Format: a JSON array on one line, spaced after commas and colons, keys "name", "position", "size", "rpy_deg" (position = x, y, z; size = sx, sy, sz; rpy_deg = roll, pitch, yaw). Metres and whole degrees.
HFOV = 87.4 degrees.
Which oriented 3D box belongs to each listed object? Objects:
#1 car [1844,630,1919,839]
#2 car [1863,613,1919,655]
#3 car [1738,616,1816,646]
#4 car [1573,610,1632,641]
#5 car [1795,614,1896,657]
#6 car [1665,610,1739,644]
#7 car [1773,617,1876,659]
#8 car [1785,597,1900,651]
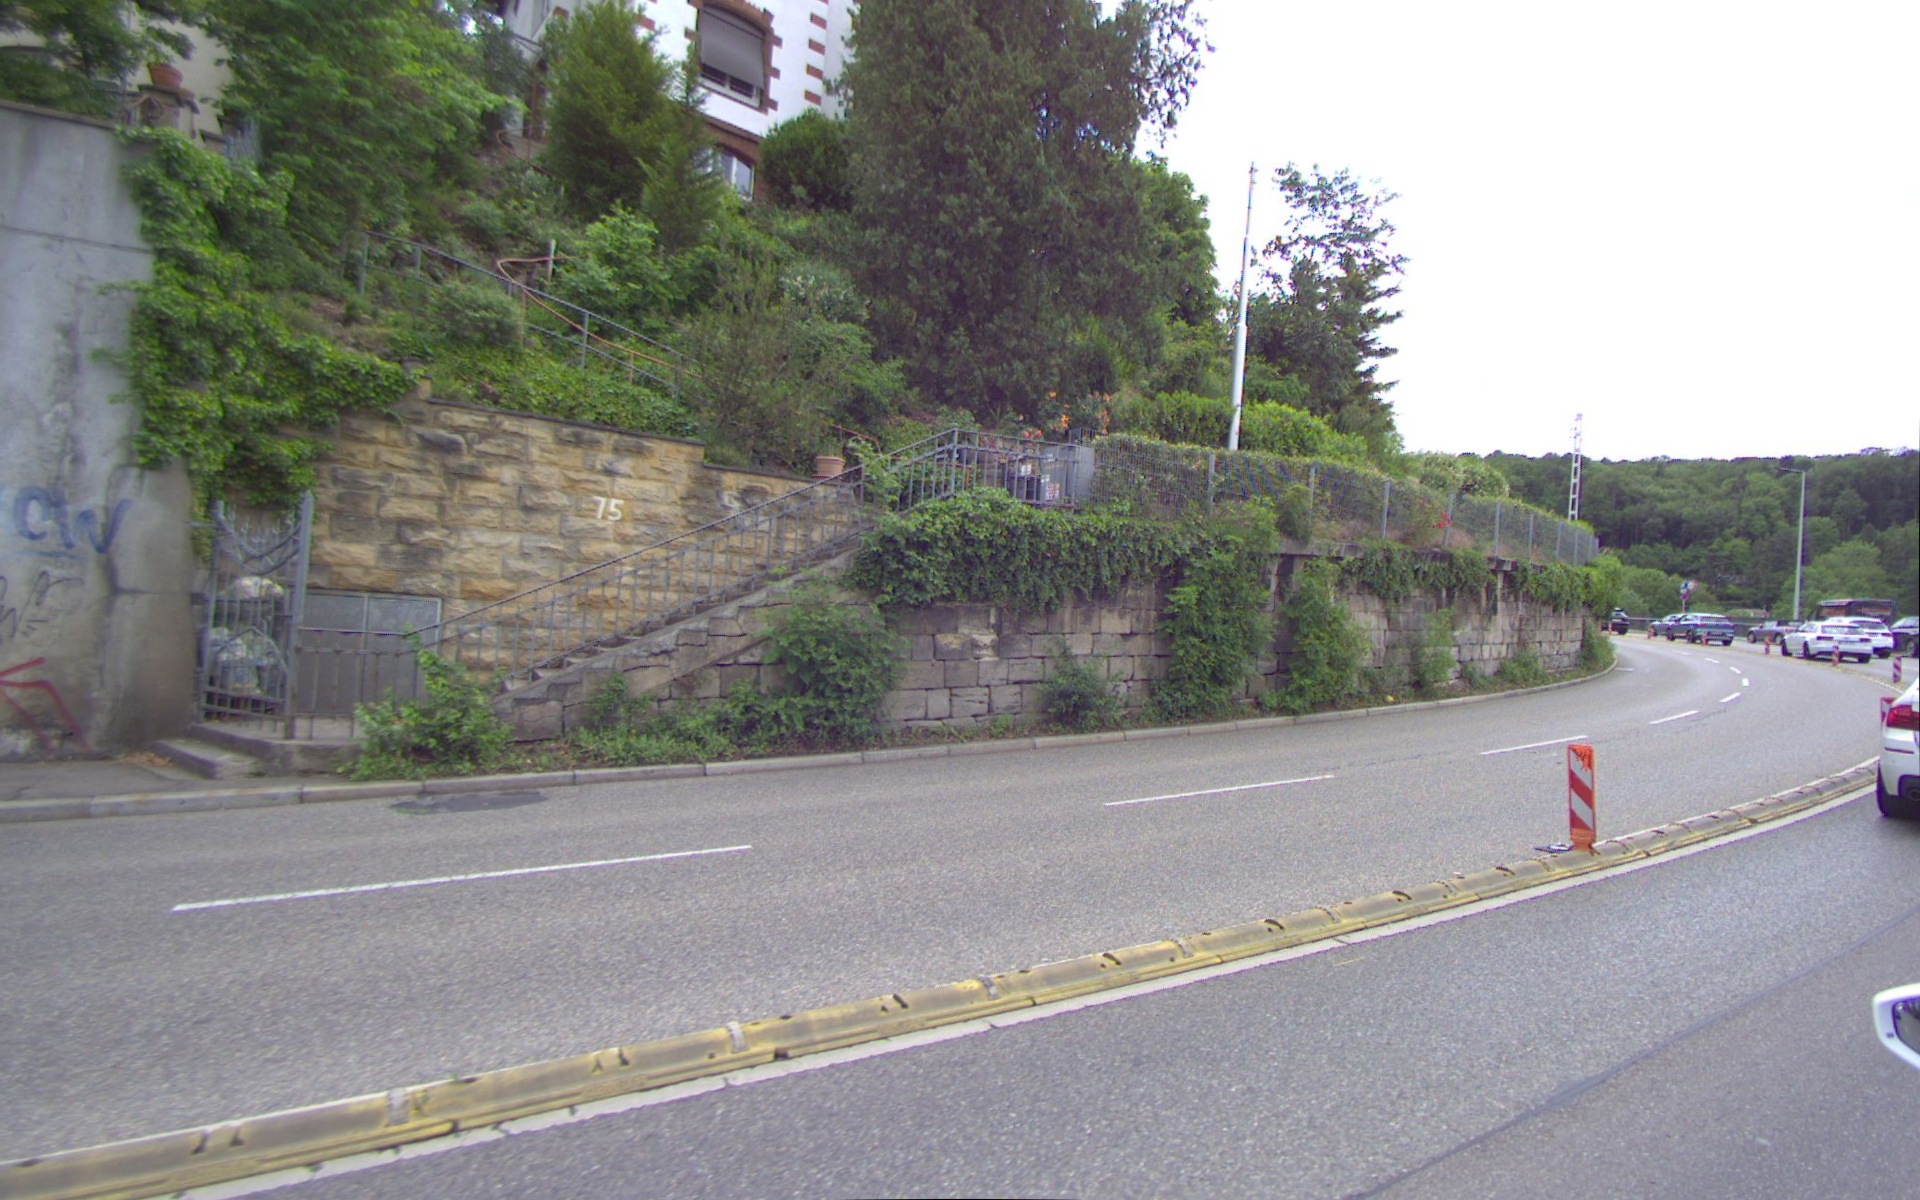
[{"name": "car", "position": [8.884, 0.995, 8.026], "size": [4.442, 1.479, 1.815], "rpy_deg": [1, -1, -36]}, {"name": "car", "position": [41.975, 1.479, 43.884], "size": [1.961, 1.741, 5.049], "rpy_deg": [1, -1, 20]}, {"name": "car", "position": [45.513, 1.721, 56.051], "size": [1.685, 1.450, 3.852], "rpy_deg": [2, 1, 10]}, {"name": "car", "position": [40.882, 1.646, 64.000], "size": [1.838, 1.784, 4.004], "rpy_deg": [3, -2, 12]}, {"name": "car", "position": [37.950, 1.498, 43.176], "size": [1.961, 1.741, 4.113], "rpy_deg": [0, -1, 21]}, {"name": "car", "position": [38.305, 1.371, 51.986], "size": [1.960, 1.670, 4.001], "rpy_deg": [0, -1, 19]}, {"name": "car", "position": [33.236, 1.428, 38.766], "size": [1.963, 1.523, 4.662], "rpy_deg": [0, -1, 27]}, {"name": "car", "position": [44.316, 1.131, 50.628], "size": [2.130, 2.555, 5.772], "rpy_deg": [0, 0, 17]}]
